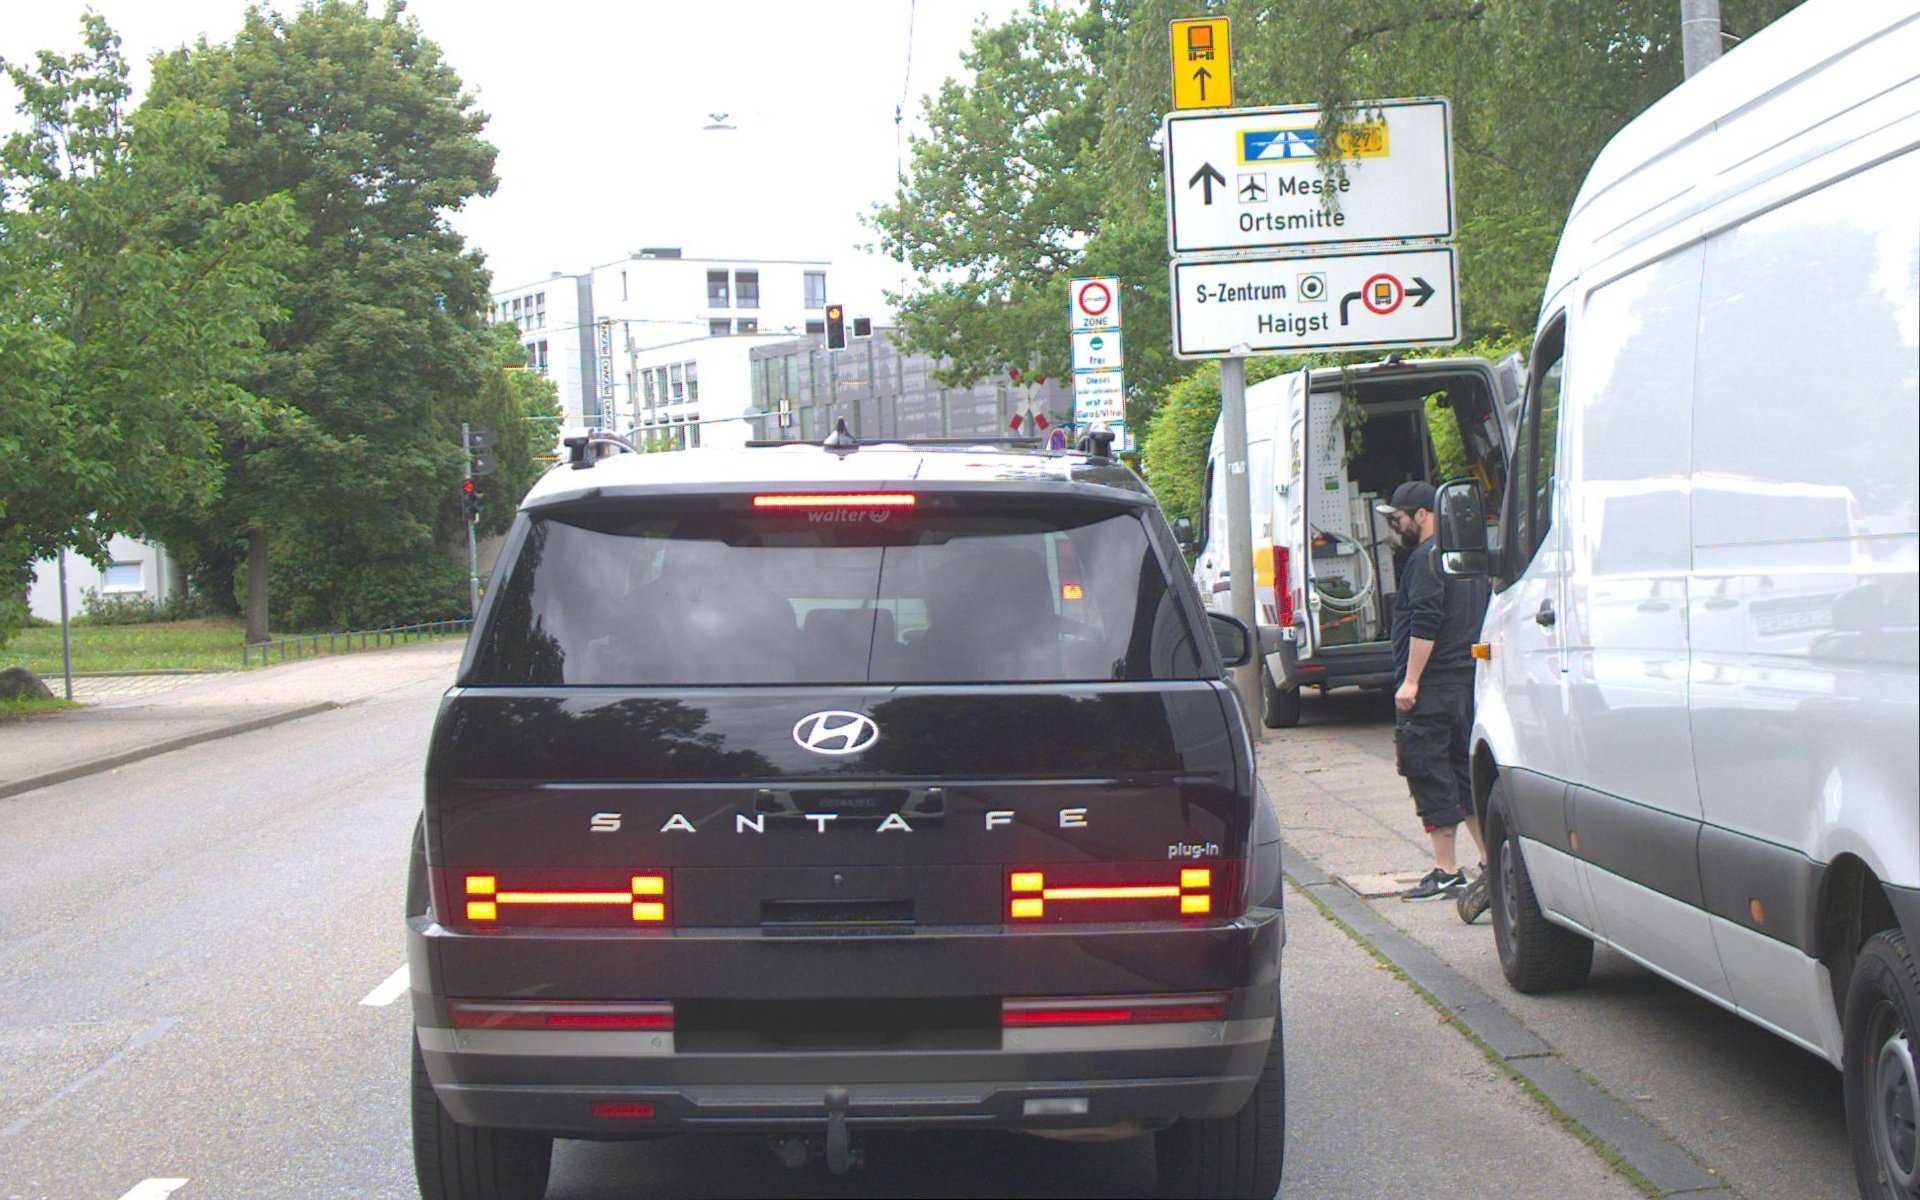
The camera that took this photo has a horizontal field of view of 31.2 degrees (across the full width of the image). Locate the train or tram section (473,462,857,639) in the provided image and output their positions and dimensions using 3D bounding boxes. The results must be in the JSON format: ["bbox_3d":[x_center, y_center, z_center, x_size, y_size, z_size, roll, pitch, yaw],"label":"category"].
[{"bbox_3d":[-8.895,-1.219,99.059,3.193,4.507,18.683,0,-1,-31],"label":"train or tram section"}]

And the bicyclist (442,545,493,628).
[{"bbox_3d":[-9.954,-0.276,69.498,0.856,1.653,0.677,-1,-1,9],"label":"bicyclist"}]

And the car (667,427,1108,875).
[{"bbox_3d":[-0.375,0.195,17.541,1.963,1.994,4.000,-1,1,-1],"label":"car"}]

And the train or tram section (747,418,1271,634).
[{"bbox_3d":[0.643,-1.527,82.998,3.193,4.507,18.683,0,-1,-31],"label":"train or tram section"}]

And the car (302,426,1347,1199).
[{"bbox_3d":[-0.301,0.503,8.534,1.963,1.705,4.000,-1,1,-1],"label":"car"}]

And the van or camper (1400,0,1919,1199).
[{"bbox_3d":[2.589,-0.069,8.068,1.963,2.619,6.359,-4,1,-1],"label":"van or camper"}]

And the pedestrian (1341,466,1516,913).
[{"bbox_3d":[1.877,0.353,13.733,0.618,1.737,0.605,-1,-1,13],"label":"pedestrian"}]

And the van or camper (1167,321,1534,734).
[{"bbox_3d":[2.916,-0.554,26.893,1.963,2.787,5.287,-4,1,-1],"label":"van or camper"}]

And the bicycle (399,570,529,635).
[{"bbox_3d":[-10.026,0.047,69.505,2.493,1.275,0.677,-1,-1,9],"label":"bicycle"}]
